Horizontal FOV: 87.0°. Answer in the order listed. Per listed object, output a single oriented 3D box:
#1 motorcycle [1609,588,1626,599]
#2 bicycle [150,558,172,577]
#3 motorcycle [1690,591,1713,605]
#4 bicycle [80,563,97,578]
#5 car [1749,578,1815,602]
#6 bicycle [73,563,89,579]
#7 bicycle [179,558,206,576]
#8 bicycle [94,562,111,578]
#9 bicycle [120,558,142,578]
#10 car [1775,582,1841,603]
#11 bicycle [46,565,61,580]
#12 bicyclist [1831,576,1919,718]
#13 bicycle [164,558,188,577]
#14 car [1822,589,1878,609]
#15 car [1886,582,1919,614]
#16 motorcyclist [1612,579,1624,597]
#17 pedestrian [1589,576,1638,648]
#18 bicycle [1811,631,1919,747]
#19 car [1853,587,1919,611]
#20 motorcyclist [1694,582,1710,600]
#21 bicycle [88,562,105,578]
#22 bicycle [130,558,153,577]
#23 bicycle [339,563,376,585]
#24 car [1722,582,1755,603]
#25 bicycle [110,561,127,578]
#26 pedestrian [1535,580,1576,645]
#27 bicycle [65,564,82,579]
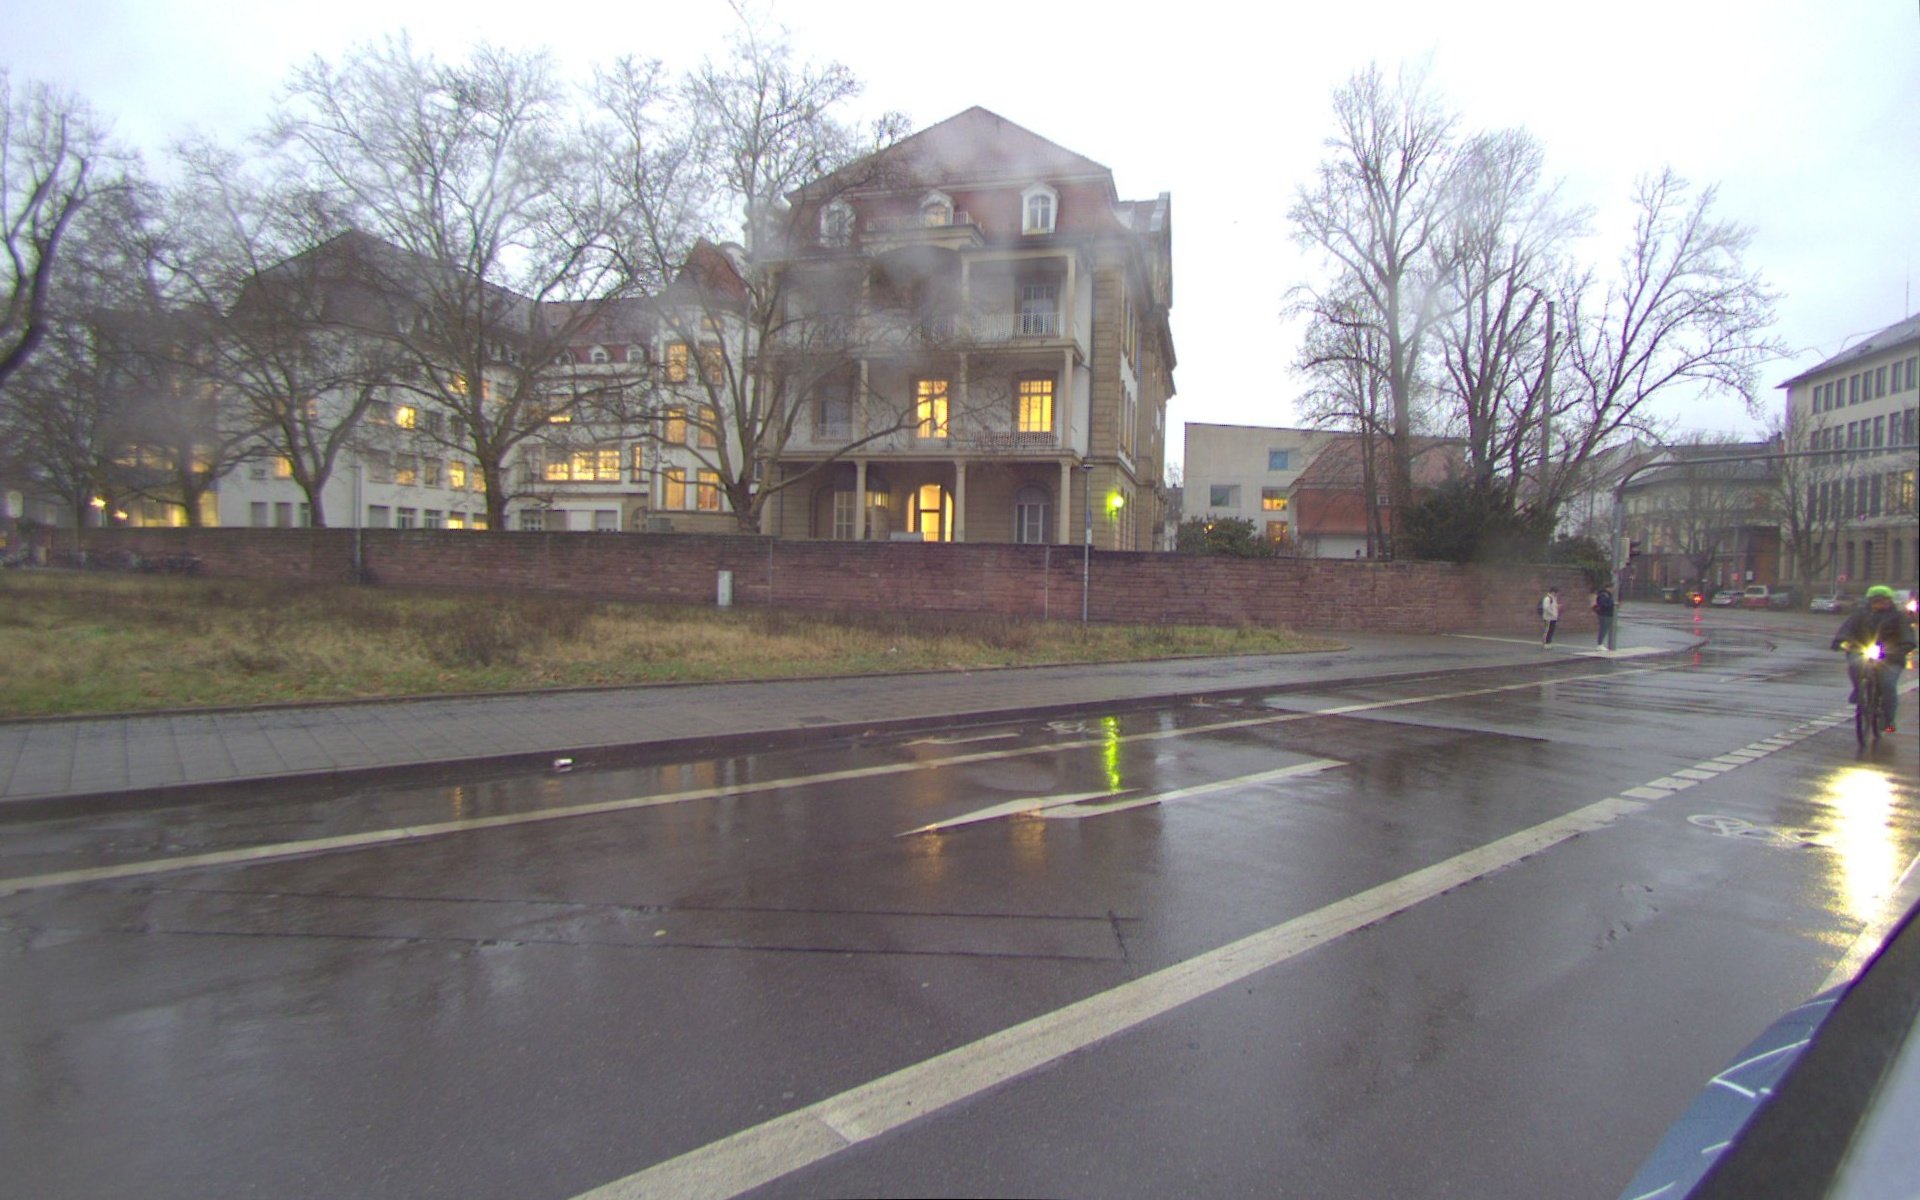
[{"bbox_3d":[65.819,-0.643,101.359,0.716,1.067,2.157,3,2,15],"label":"motorcycle"},{"bbox_3d":[-37.030,-1.499,46.887,1.480,0.849,0.346,0,0,32],"label":"bicycle"},{"bbox_3d":[58.479,-0.166,79.813,0.703,1.067,2.158,3,2,15],"label":"motorcycle"},{"bbox_3d":[-45.442,-1.534,52.743,1.522,0.796,0.389,0,0,38],"label":"bicycle"},{"bbox_3d":[64.981,-0.794,80.026,3.916,1.924,2.052,0,0,-13],"label":"car"},{"bbox_3d":[-46.672,-1.537,53.721,1.522,0.796,0.389,0,0,38],"label":"bicycle"},{"bbox_3d":[-34.210,-1.470,45.112,1.399,0.796,0.355,0,0,26],"label":"bicycle"},{"bbox_3d":[-43.131,-1.497,50.898,1.522,0.796,0.389,0,0,38],"label":"bicycle"},{"bbox_3d":[-39.908,-1.541,48.723,1.519,0.928,0.389,0,0,33],"label":"bicycle"},{"bbox_3d":[64.700,-0.588,77.229,3.916,1.570,1.805,0,0,-13],"label":"car"},{"bbox_3d":[-51.609,-1.549,57.594,1.522,0.796,0.389,0,0,38],"label":"bicycle"},{"bbox_3d":[10.196,0.483,11.130,1.114,1.471,0.784,0,0,-41],"label":"bicyclist"},{"bbox_3d":[-35.550,-1.470,45.861,1.519,0.796,0.389,0,0,33],"label":"bicycle"},{"bbox_3d":[63.602,-0.084,72.303,3.568,1.322,1.712,-1,0,-25],"label":"car"},{"bbox_3d":[57.842,-0.159,61.122,3.921,1.868,1.885,-1,0,-32],"label":"car"},{"bbox_3d":[65.812,-1.175,101.252,0.701,1.738,0.738,2,2,16],"label":"motorcyclist"},{"bbox_3d":[18.266,0.318,28.305,0.996,1.924,0.664,4,3,41],"label":"pedestrian"},{"bbox_3d":[10.081,0.928,11.146,1.923,1.088,0.784,-1,0,-41],"label":"bicycle"},{"bbox_3d":[61.963,-0.062,67.009,3.927,1.570,1.800,0,0,4],"label":"car"},{"bbox_3d":[58.494,-0.718,79.783,0.691,1.400,0.863,2,2,15],"label":"motorcyclist"},{"bbox_3d":[-44.178,-1.531,51.769,1.522,0.796,0.389,0,0,38],"label":"bicycle"},{"bbox_3d":[-38.626,-1.509,47.769,1.519,0.869,0.389,0,0,33],"label":"bicycle"},{"bbox_3d":[-23.384,-0.989,39.273,1.366,0.835,0.392,0,0,14],"label":"bicycle"},{"bbox_3d":[66.481,-0.648,86.391,1.992,1.690,3.940,0,1,42],"label":"car"},{"bbox_3d":[-41.474,-1.478,49.878,1.599,0.796,0.388,0,0,41],"label":"bicycle"},{"bbox_3d":[16.608,0.328,28.213,0.796,1.744,0.664,4,3,42],"label":"pedestrian"},{"bbox_3d":[-47.896,-1.540,54.675,1.522,0.796,0.389,0,0,38],"label":"bicycle"}]
